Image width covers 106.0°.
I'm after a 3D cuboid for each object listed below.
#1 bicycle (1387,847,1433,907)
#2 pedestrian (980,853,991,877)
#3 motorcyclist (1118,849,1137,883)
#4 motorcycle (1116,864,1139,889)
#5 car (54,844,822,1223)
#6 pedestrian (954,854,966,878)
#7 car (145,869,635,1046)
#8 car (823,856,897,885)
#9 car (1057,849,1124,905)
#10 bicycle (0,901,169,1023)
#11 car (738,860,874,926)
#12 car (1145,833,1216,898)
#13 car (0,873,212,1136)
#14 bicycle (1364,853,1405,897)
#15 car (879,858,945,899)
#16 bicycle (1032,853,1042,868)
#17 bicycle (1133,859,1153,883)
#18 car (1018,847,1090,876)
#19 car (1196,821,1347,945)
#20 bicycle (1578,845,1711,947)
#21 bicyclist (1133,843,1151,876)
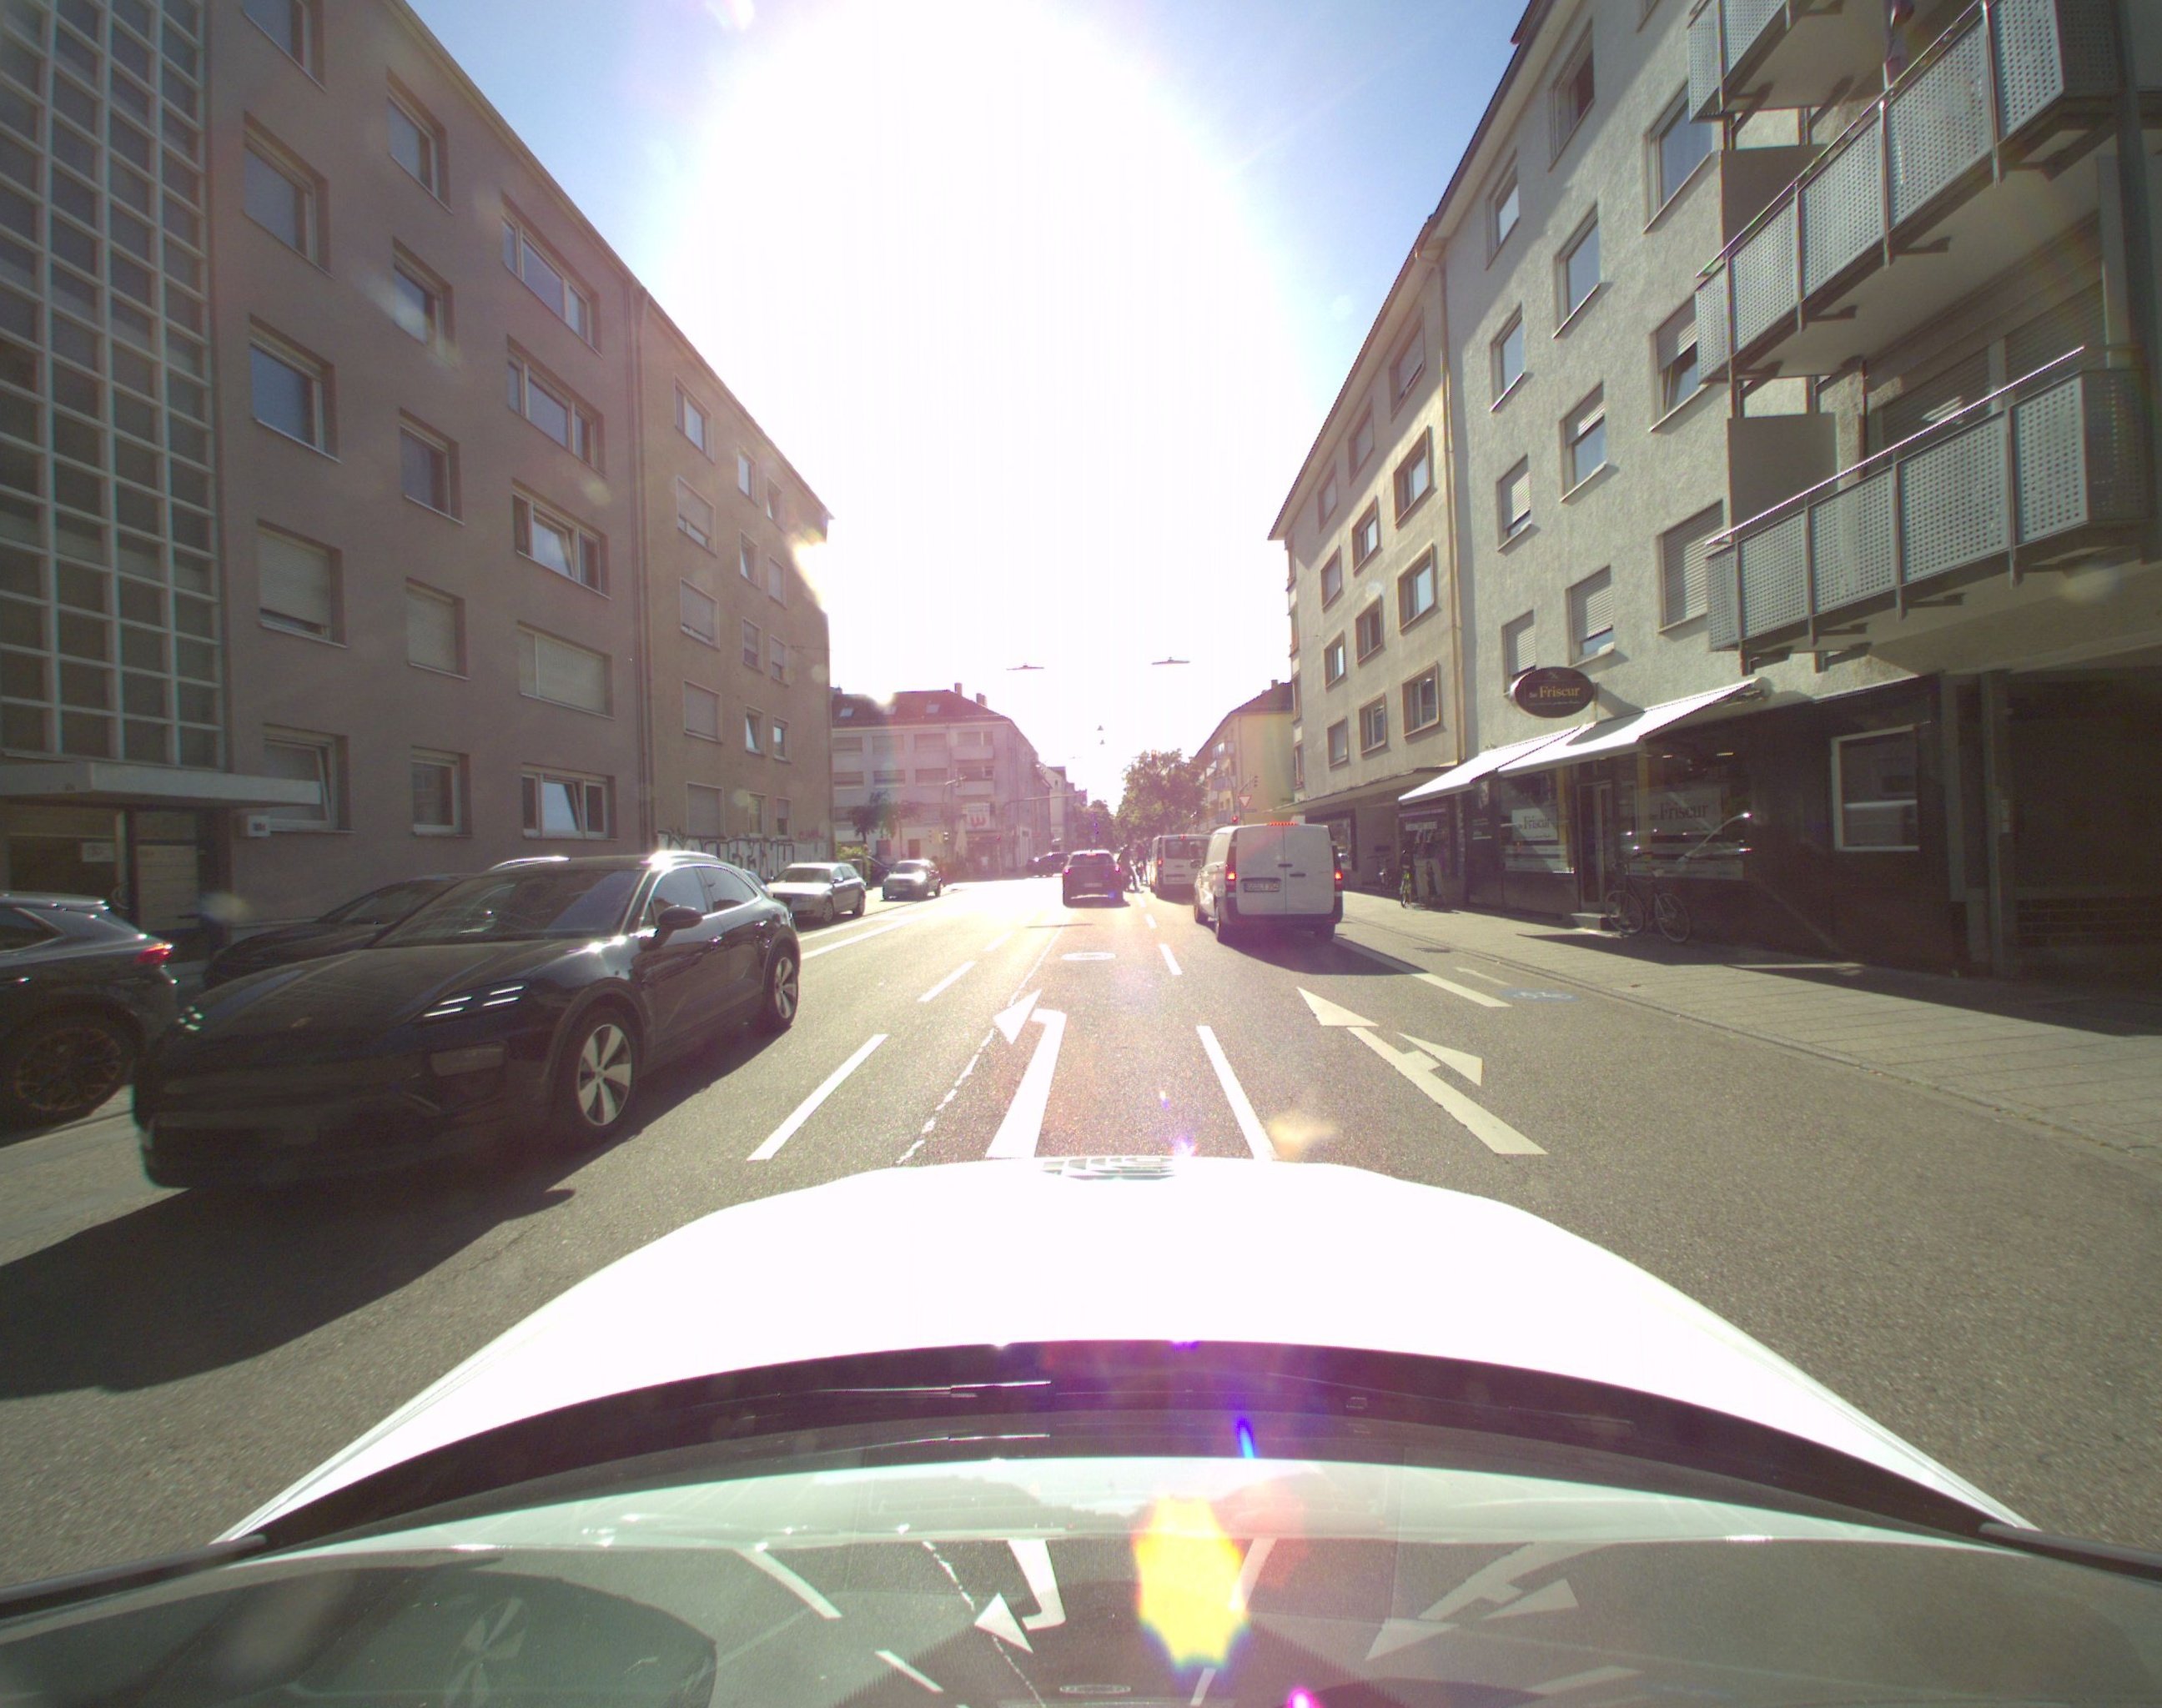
[{"bbox_3d":[7.398,0.493,18.372,0.473,1.274,1.218,-5,0,1],"label":"bicycle"},{"bbox_3d":[-6.717,0.787,57.320,0.681,1.663,0.601,-2,0,0],"label":"pedestrian"},{"bbox_3d":[1.740,0.444,30.644,0.656,1.227,0.694,-2,0,1],"label":"motorcyclist"},{"bbox_3d":[1.731,0.842,30.724,0.804,0.863,1.823,0,0,1],"label":"motorcycle"},{"bbox_3d":[-3.552,0.796,5.814,1.860,1.614,4.428,-2,0,1],"label":"car"},{"bbox_3d":[-8.404,0.837,56.403,0.681,1.663,0.601,-2,0,0],"label":"pedestrian"},{"bbox_3d":[-7.559,0.993,9.642,1.985,1.497,4.232,1,0,4],"label":"car"},{"bbox_3d":[-13.301,0.988,49.221,3.976,1.626,1.543,-2,0,-2],"label":"car"},{"bbox_3d":[0.314,0.646,24.916,1.838,1.507,4.001,-2,0,1],"label":"car"},{"bbox_3d":[-10.750,1.099,8.362,0.552,1.102,1.904,-2,0,2],"label":"bicycle"},{"bbox_3d":[-6.905,0.908,21.056,1.770,1.469,4.761,1,0,1],"label":"car"},{"bbox_3d":[3.186,0.352,26.936,1.809,1.921,4.645,-2,0,1],"label":"car"},{"bbox_3d":[-7.705,0.946,4.083,1.869,1.606,4.368,0,0,3],"label":"car"},{"bbox_3d":[8.029,0.538,21.604,0.521,1.118,1.534,-2,0,2],"label":"bicycle"},{"bbox_3d":[-6.438,0.892,31.441,1.647,1.479,4.001,0,0,1],"label":"car"},{"bbox_3d":[-3.394,0.479,62.678,0.561,1.085,1.106,-2,0,9],"label":"bicycle"},{"bbox_3d":[2.736,0.755,36.204,0.772,0.992,1.717,-2,0,1],"label":"bicycle"},{"bbox_3d":[-1.655,0.469,50.148,4.002,1.640,1.986,-1,0,-21],"label":"car"},{"bbox_3d":[3.172,0.440,14.494,1.975,1.822,4.553,-1,0,5],"label":"car"},{"bbox_3d":[7.645,0.522,11.162,0.546,1.269,1.884,-2,0,2],"label":"bicycle"},{"bbox_3d":[2.689,0.247,36.052,0.681,1.448,0.940,-2,0,1],"label":"bicyclist"}]
